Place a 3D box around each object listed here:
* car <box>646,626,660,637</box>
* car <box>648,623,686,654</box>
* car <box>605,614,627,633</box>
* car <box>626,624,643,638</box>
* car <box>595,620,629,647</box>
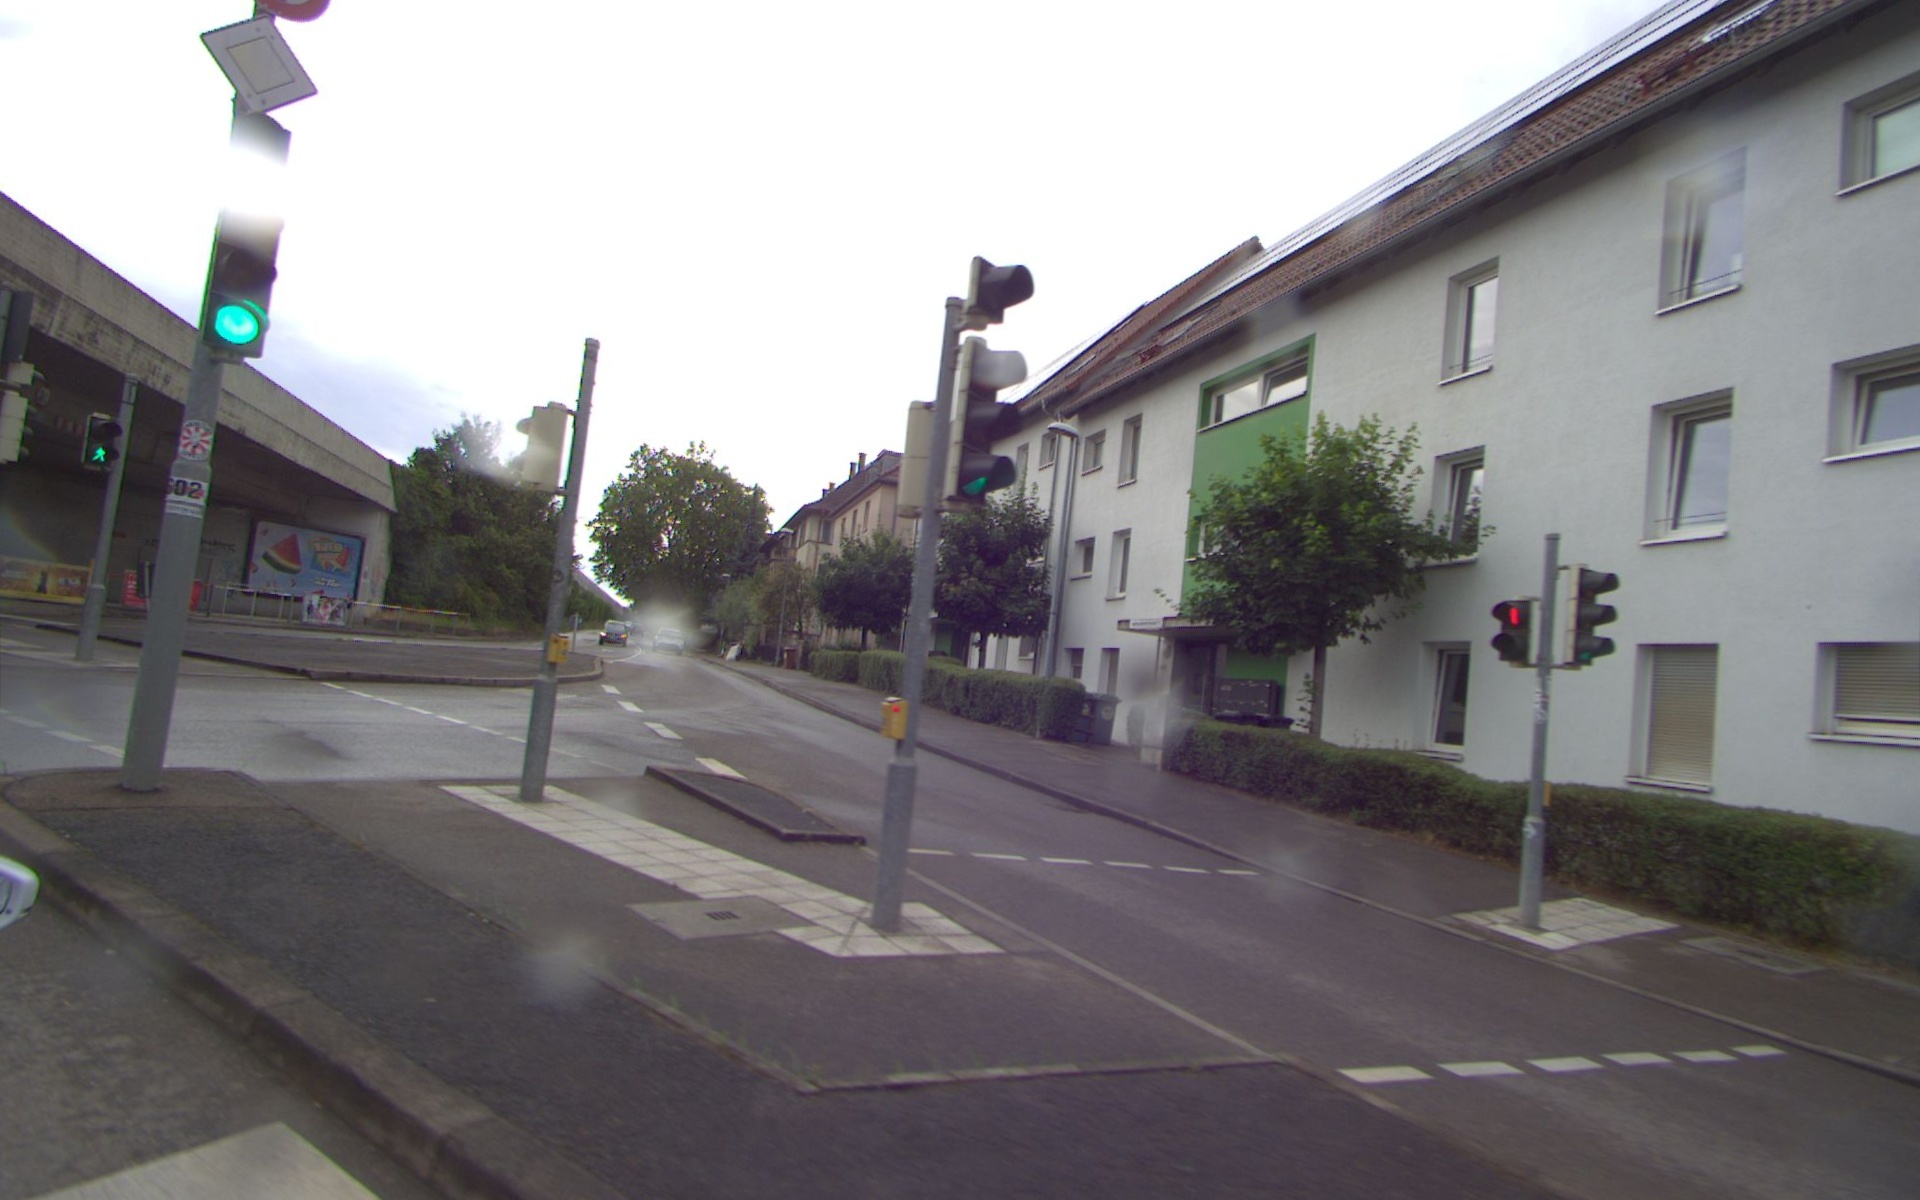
[{"bbox_3d":[-53.420,5.525,174.801,1.857,1.546,3.984,10,-4,-21],"label":"car"},{"bbox_3d":[-18.021,2.338,61.716,1.856,1.546,3.987,10,-4,-18],"label":"car"},{"bbox_3d":[-35.894,2.440,104.912,1.857,1.546,3.984,10,-4,-21],"label":"car"},{"bbox_3d":[-43.798,4.138,135.364,1.857,1.546,3.984,10,-4,-21],"label":"car"},{"bbox_3d":[-23.730,2.284,68.642,1.742,1.597,4.227,6,-3,-15],"label":"car"}]
